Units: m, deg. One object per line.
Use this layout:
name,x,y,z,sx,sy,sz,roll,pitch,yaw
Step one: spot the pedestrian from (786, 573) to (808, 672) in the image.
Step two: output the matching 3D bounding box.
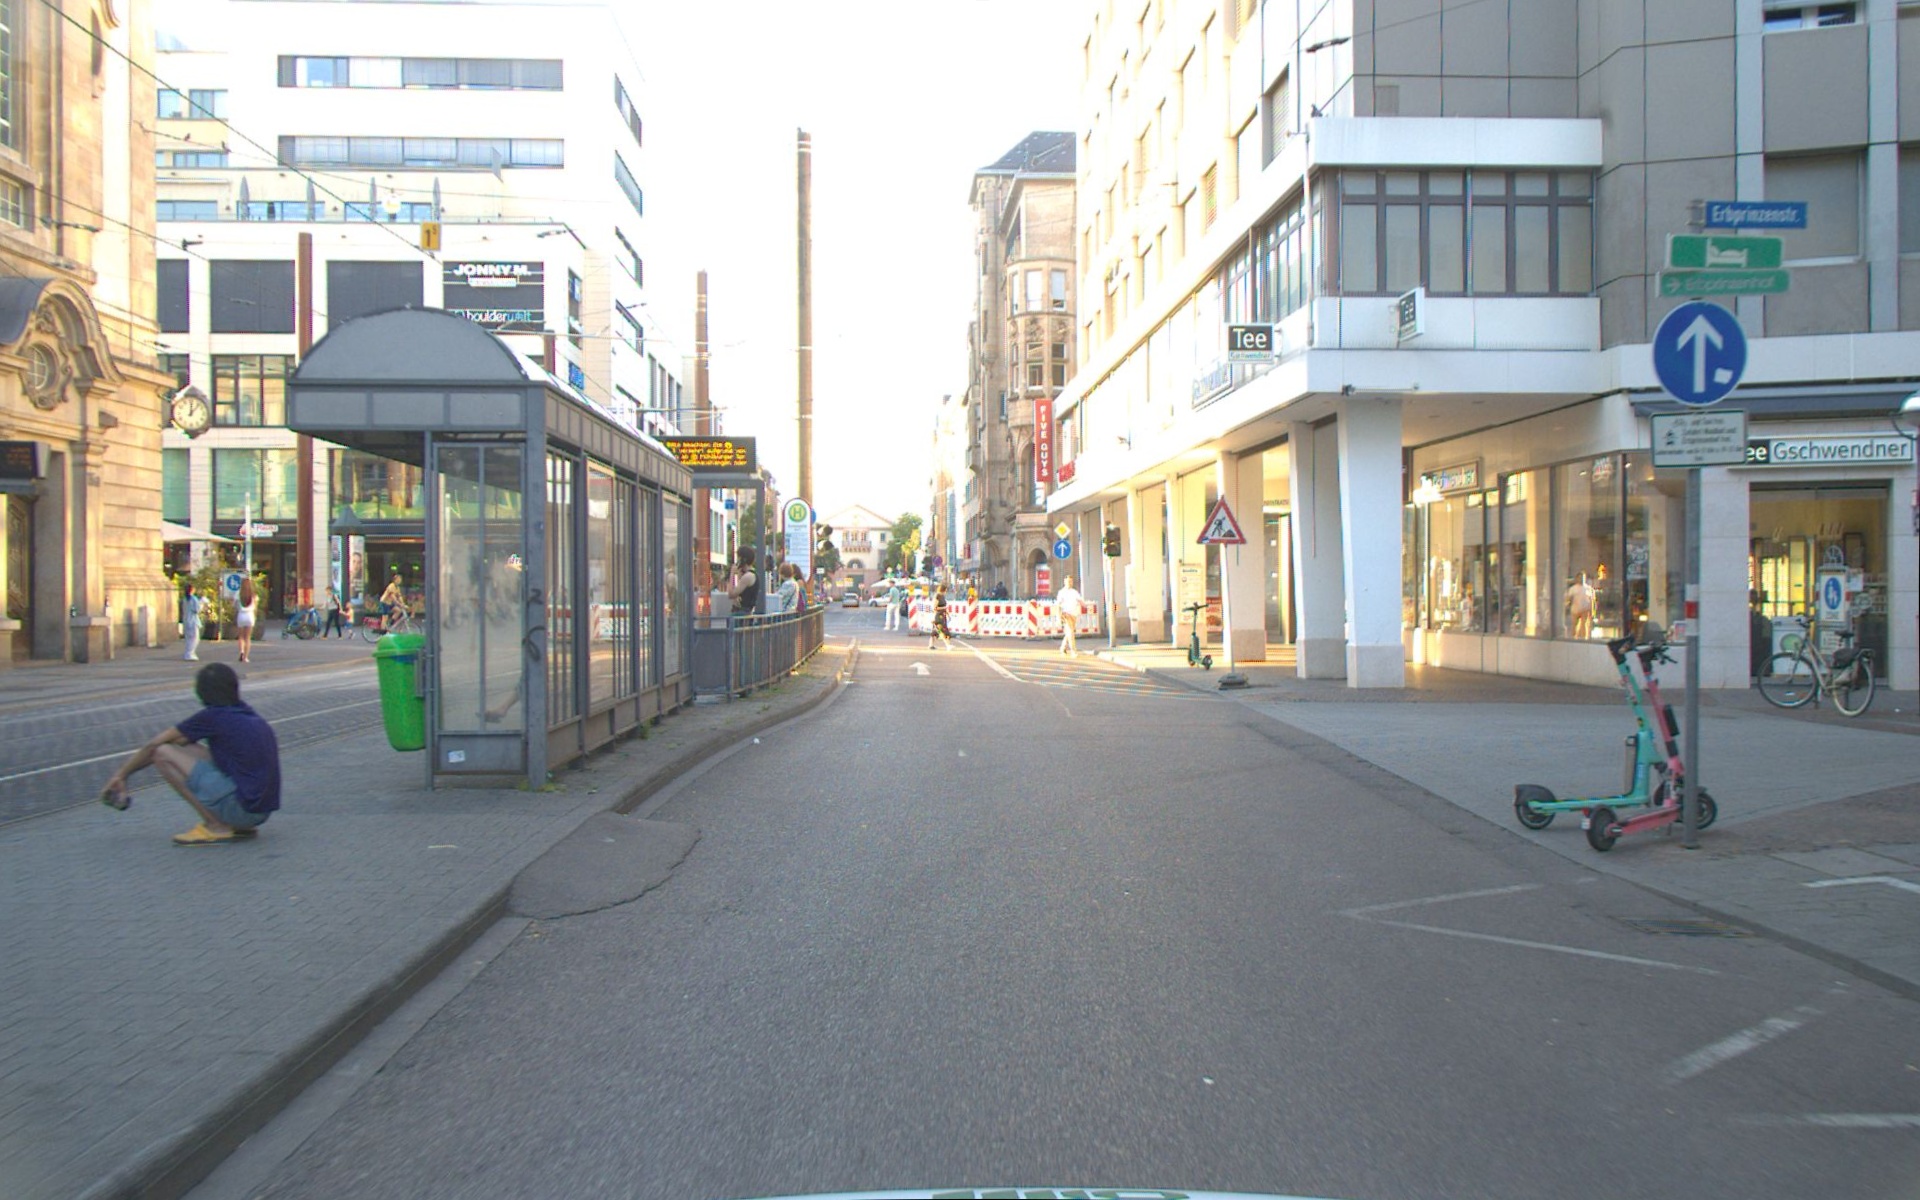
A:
pedestrian,-2.779,0.388,28.233,0.350,1.670,0.502,1,-1,-5

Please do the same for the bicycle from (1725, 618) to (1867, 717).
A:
bicycle,10.017,0.780,19.889,0.753,1.046,1.847,1,2,0

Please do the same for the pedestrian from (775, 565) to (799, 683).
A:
pedestrian,-2.709,0.377,25.948,0.335,1.827,0.544,1,-1,-5

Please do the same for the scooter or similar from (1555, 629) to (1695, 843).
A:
scooter or similar,4.185,0.829,10.382,1.036,1.256,0.269,-1,-1,-35

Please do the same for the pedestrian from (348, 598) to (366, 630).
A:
pedestrian,-19.035,0.441,52.223,0.413,0.982,0.418,0,0,-1

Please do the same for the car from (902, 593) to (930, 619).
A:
car,-2.876,0.394,107.765,1.645,1.574,3.670,-2,0,-3

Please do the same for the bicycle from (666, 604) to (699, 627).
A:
bicycle,-14.373,0.793,85.678,1.661,1.141,0.451,1,-1,-1

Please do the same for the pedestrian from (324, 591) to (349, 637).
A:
pedestrian,-19.657,0.429,52.107,0.626,1.445,0.418,0,0,-1

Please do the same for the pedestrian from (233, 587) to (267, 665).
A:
pedestrian,-14.258,0.508,33.224,0.516,1.552,0.501,0,0,-9

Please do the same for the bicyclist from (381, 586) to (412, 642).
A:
bicyclist,-16.333,0.398,47.940,0.775,1.621,0.609,0,0,-11

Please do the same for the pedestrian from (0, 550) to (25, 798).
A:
pedestrian,-7.002,0.512,11.443,0.660,1.721,0.638,0,-1,20

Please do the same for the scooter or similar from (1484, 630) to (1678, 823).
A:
scooter or similar,4.142,0.845,11.078,1.151,1.256,0.316,-2,-1,13

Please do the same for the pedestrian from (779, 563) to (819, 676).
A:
pedestrian,-2.590,0.308,26.695,0.528,1.798,0.594,1,-1,2

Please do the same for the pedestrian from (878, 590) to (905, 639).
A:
pedestrian,-2.553,0.547,62.115,0.847,1.792,0.768,1,-1,9

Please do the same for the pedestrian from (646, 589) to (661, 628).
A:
pedestrian,-13.465,0.350,72.686,0.518,1.703,0.650,0,0,-2

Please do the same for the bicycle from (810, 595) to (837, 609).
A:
bicycle,-10.770,0.167,130.840,2.104,1.047,0.640,0,0,-2

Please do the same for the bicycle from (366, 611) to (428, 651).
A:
bicycle,-16.309,0.898,47.935,1.591,1.123,0.628,-1,-1,-11

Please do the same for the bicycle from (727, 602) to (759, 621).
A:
bicycle,-13.581,0.742,103.646,1.948,1.141,0.552,1,-1,-32

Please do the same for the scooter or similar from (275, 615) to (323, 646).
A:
scooter or similar,-20.457,0.942,51.181,1.070,0.920,0.891,0,0,6

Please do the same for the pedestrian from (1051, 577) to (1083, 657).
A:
pedestrian,2.521,0.388,38.982,0.684,1.847,0.852,1,0,6

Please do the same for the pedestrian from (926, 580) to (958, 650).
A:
pedestrian,-0.453,0.363,41.165,0.686,1.723,0.540,1,-1,-10

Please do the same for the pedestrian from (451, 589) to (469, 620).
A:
pedestrian,-25.123,0.214,83.134,0.560,1.553,0.791,1,-1,9

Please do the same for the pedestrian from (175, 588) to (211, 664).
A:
pedestrian,-15.779,0.528,34.039,0.490,1.552,0.519,0,0,-2

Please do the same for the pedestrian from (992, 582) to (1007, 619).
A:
pedestrian,1.876,0.023,78.879,0.613,1.719,0.670,-1,0,-5

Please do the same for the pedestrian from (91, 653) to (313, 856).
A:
pedestrian,-3.904,0.769,8.547,0.781,0.955,0.693,0,0,20

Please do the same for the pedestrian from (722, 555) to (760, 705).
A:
pedestrian,-2.659,0.361,20.114,0.404,1.798,0.594,1,-1,-5

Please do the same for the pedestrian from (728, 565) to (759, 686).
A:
pedestrian,-3.024,0.357,23.108,0.378,1.670,0.549,1,-1,-5

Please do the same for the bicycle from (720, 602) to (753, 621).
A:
bicycle,-14.087,0.737,104.275,1.948,1.141,0.552,1,-1,-32

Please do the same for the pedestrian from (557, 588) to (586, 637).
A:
pedestrian,-13.091,0.408,55.715,0.811,1.642,0.687,0,0,-28

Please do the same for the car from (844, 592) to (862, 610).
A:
car,-11.658,0.120,180.309,1.954,1.937,3.997,1,0,-3

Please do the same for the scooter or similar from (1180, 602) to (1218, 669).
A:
scooter or similar,4.604,0.674,31.896,0.495,1.256,1.179,0,0,-3

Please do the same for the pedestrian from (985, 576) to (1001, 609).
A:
pedestrian,1.652,-0.366,83.040,0.697,1.639,0.821,1,-1,-6
